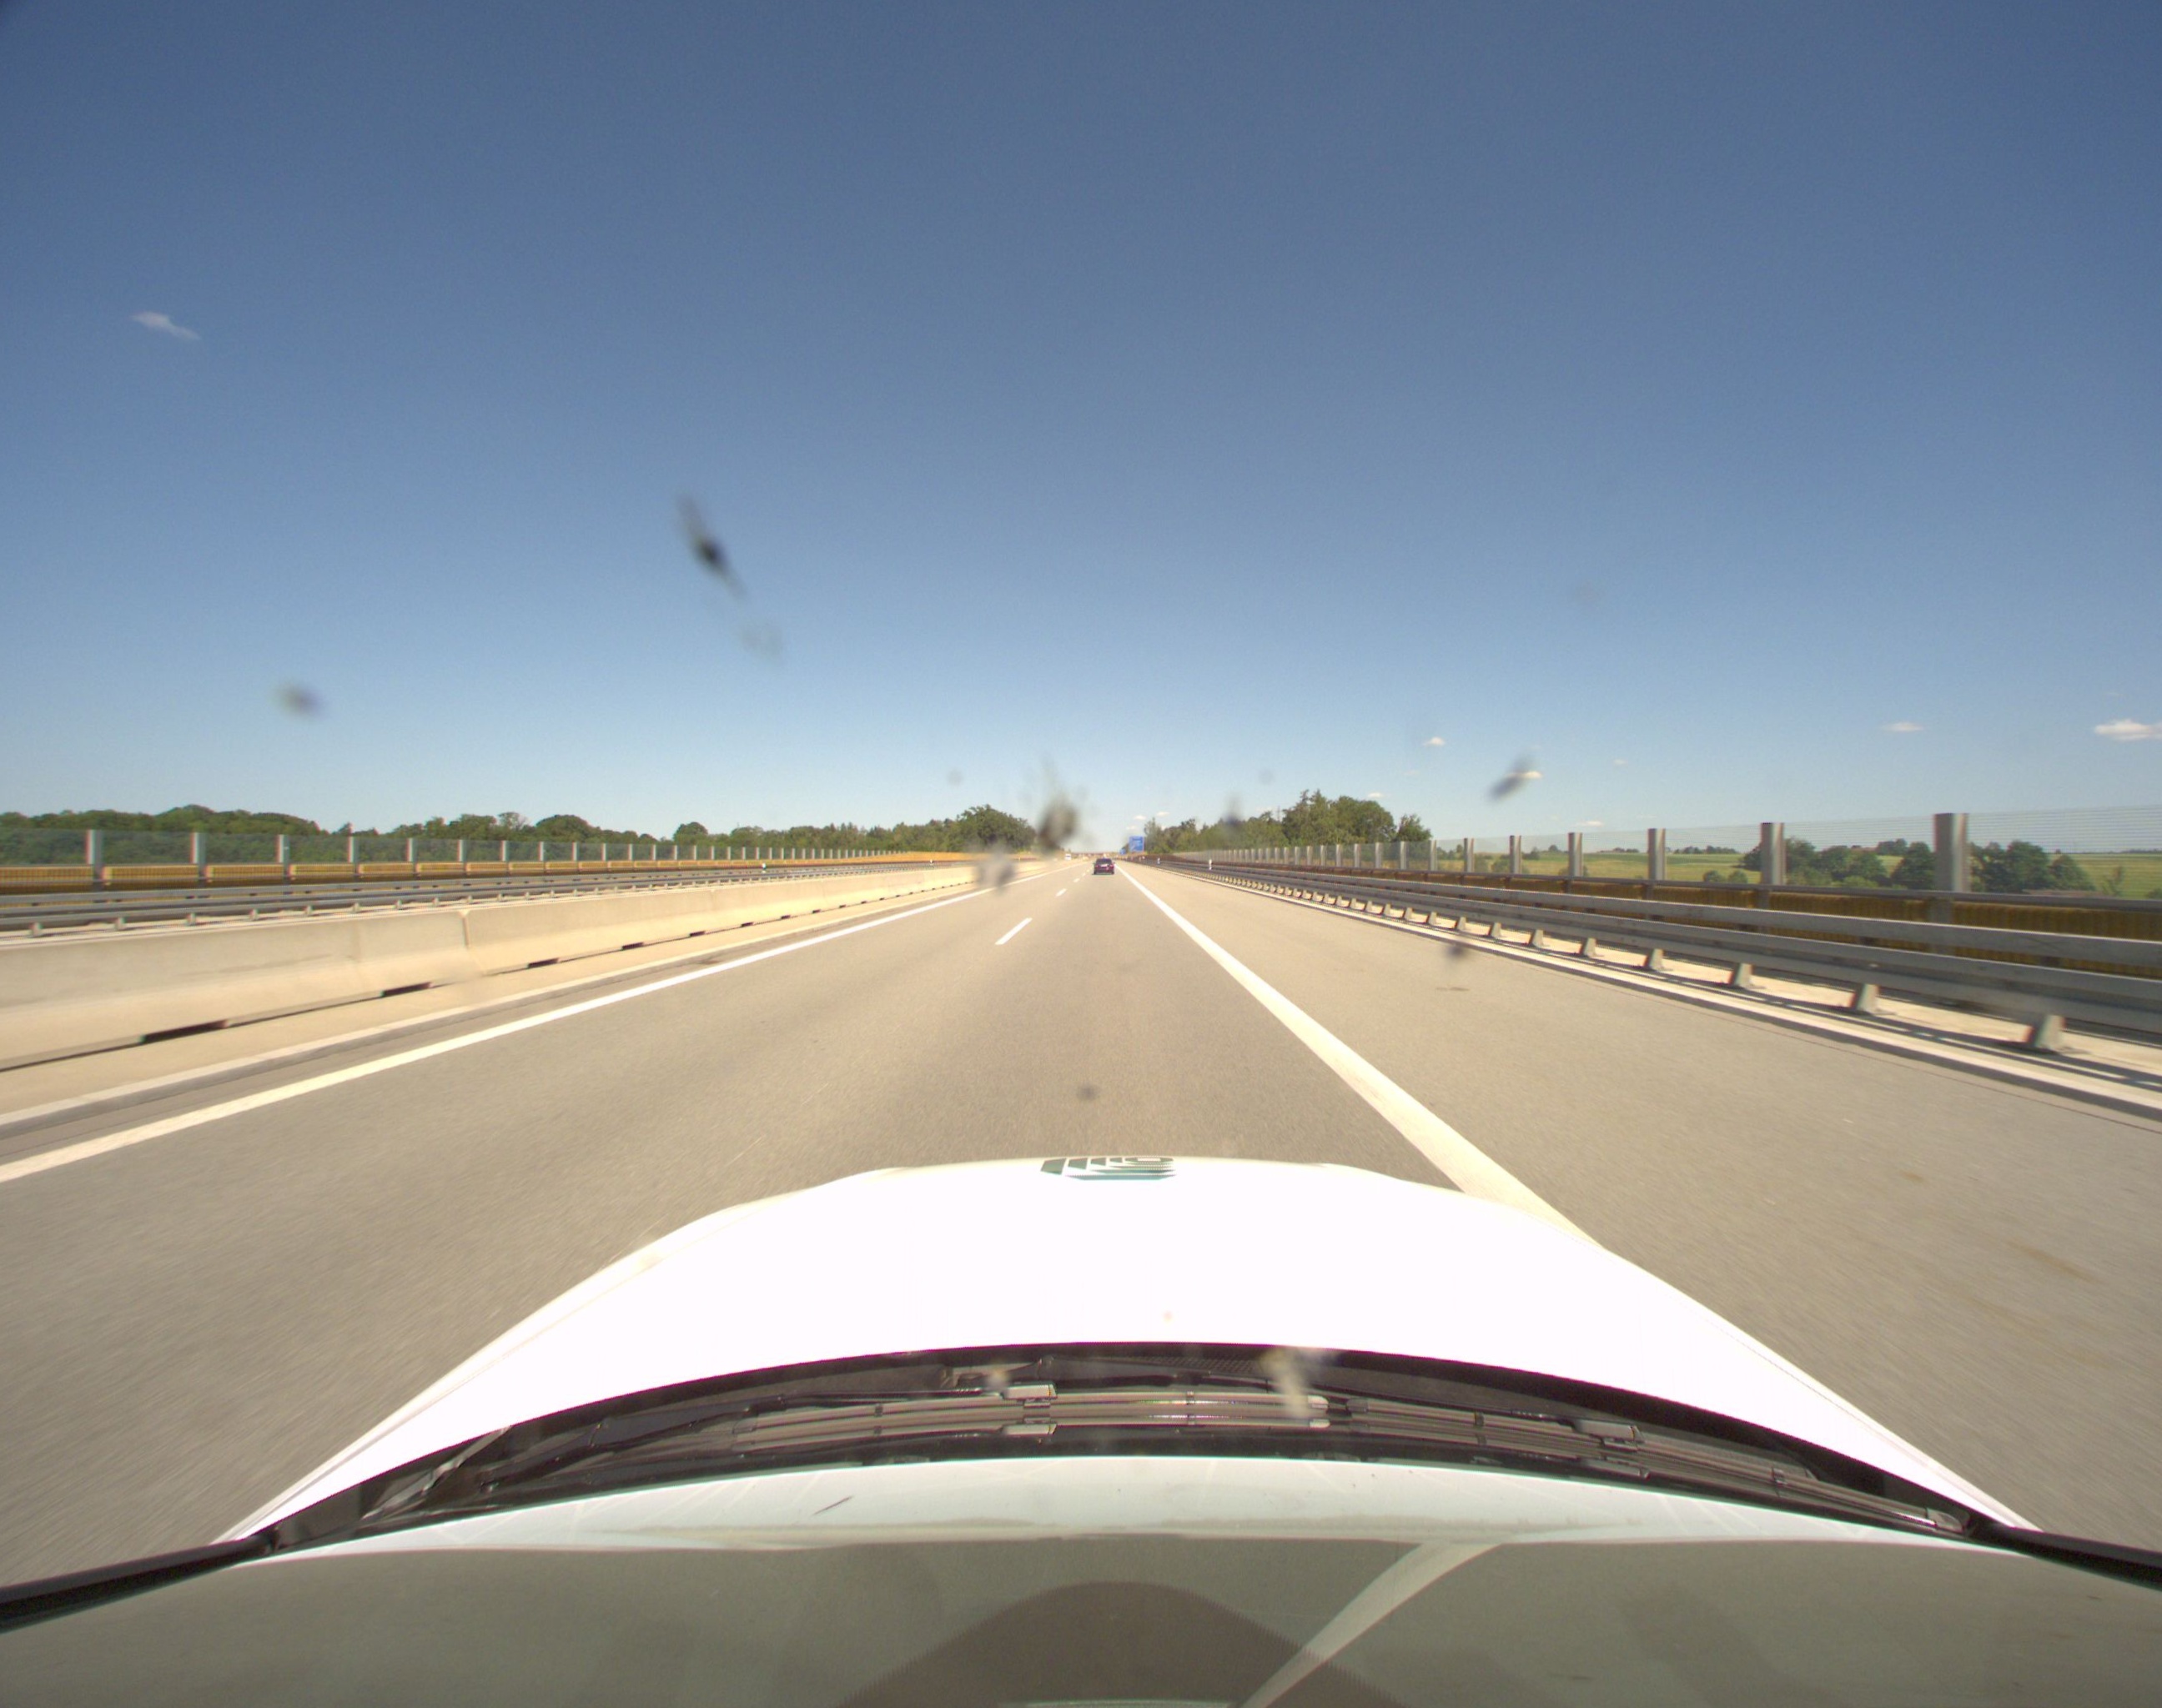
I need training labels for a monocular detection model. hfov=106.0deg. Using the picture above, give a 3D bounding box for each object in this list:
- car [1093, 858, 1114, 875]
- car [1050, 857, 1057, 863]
[{"bbox_3d":[1.972,1.094,70.406,1.783,1.374,3.918,-1,0,2],"label":"car"},{"bbox_3d":[-8.126,1.799,242.316,1.641,1.508,4.334,-1,0,2],"label":"car"}]
